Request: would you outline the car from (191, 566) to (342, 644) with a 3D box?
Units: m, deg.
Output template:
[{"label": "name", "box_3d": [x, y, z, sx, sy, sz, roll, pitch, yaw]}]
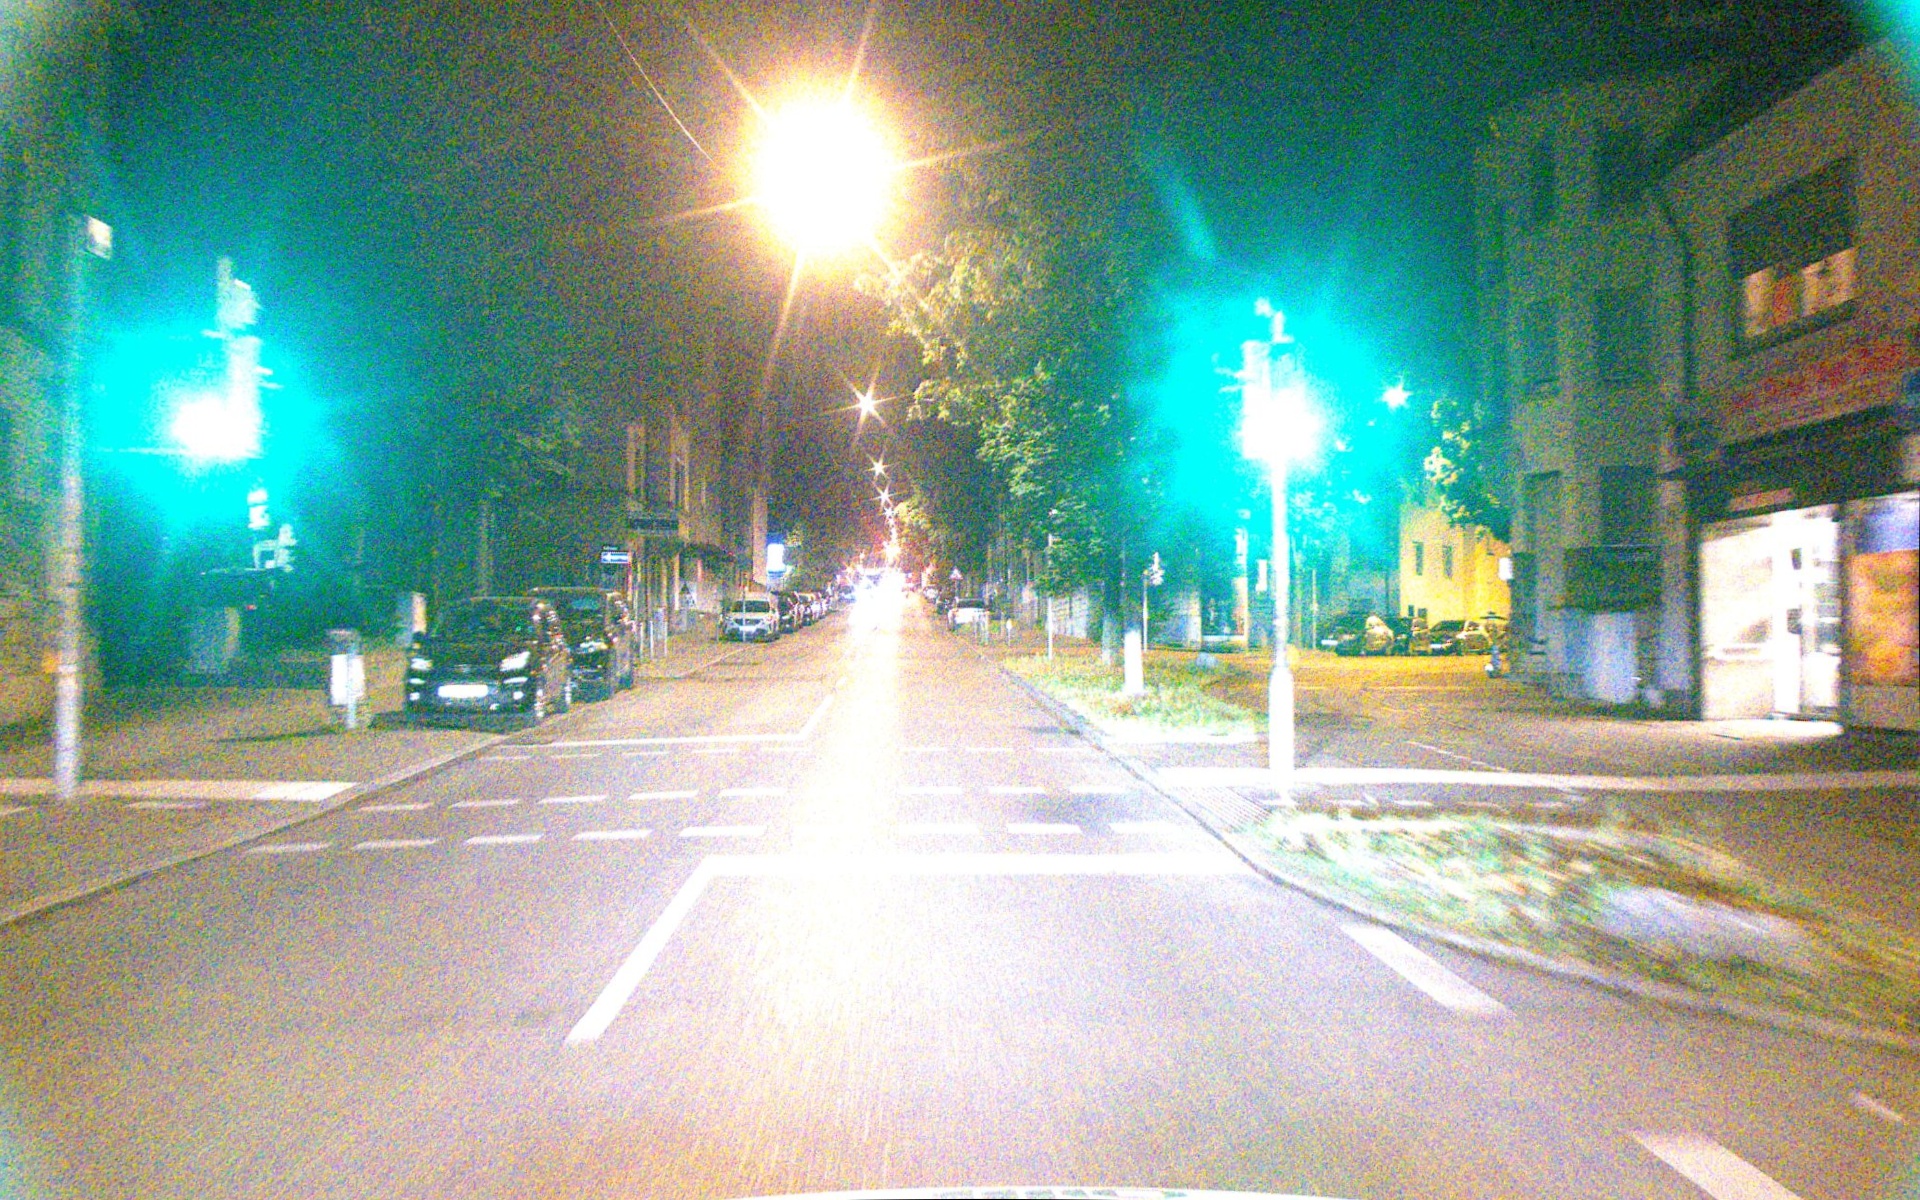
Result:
[{"label": "car", "box_3d": [-15.447, 0.114, 37.073, 1.721, 1.565, 4.185, 3, 0, -3]}]

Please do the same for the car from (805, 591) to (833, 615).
[{"label": "car", "box_3d": [-9.129, 0.209, 107.225, 1.605, 1.524, 2.765, 0, 0, 0]}]

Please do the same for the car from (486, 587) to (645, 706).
[{"label": "car", "box_3d": [-6.209, 0.669, 26.528, 1.812, 1.679, 4.666, 1, 1, -5]}]

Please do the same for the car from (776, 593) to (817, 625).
[{"label": "car", "box_3d": [-8.171, 0.460, 82.921, 1.826, 1.518, 4.278, 1, 0, -3]}]

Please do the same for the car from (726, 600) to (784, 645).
[{"label": "car", "box_3d": [-7.234, 0.763, 58.674, 1.778, 1.510, 4.345, 0, 0, -3]}]

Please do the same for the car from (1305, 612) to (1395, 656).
[{"label": "car", "box_3d": [13.655, 1.164, 57.748, 1.766, 1.442, 3.824, 1, 0, 35]}]

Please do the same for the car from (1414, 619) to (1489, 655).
[{"label": "car", "box_3d": [19.907, 1.480, 66.936, 1.739, 1.364, 3.905, 1, 0, 35]}]

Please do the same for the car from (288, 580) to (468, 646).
[{"label": "car", "box_3d": [-14.892, 0.332, 42.399, 3.902, 1.450, 1.763, 3, 0, 8]}]

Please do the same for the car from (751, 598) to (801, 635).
[{"label": "car", "box_3d": [-7.673, 0.662, 69.207, 1.798, 1.472, 4.542, 0, 1, -3]}]

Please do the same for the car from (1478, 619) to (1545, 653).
[{"label": "car", "box_3d": [24.296, 1.581, 72.837, 1.739, 1.442, 3.905, 1, 0, 35]}]

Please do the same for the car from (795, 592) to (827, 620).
[{"label": "car", "box_3d": [-8.566, 0.313, 95.316, 1.670, 1.517, 4.226, -1, 1, -3]}]

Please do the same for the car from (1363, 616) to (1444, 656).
[{"label": "car", "box_3d": [16.806, 1.338, 62.626, 1.766, 1.442, 3.824, 1, 0, 35]}]

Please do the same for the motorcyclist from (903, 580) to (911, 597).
[{"label": "motorcyclist", "box_3d": [-5.754, -1.270, 180.874, 0.831, 1.782, 0.805, 1, -1, -2]}]

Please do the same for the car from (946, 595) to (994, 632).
[{"label": "car", "box_3d": [0.422, 0.576, 72.280, 1.808, 1.442, 4.643, -3, 0, -3]}]

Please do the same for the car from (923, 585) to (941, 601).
[{"label": "car", "box_3d": [-2.967, -0.774, 172.895, 1.831, 1.553, 4.148, -1, 1, -2]}]

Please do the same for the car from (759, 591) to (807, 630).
[{"label": "car", "box_3d": [-7.929, 0.434, 74.368, 1.798, 1.647, 4.543, 1, 0, -2]}]

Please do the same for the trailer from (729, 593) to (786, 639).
[{"label": "trailer", "box_3d": [-7.721, 0.607, 63.243, 1.603, 1.668, 3.440, 1, 0, 2]}]

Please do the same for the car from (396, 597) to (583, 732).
[{"label": "car", "box_3d": [-5.895, 0.760, 21.100, 1.615, 1.541, 3.697, 1, 0, -6]}]

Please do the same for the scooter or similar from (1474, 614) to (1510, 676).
[{"label": "scooter or similar", "box_3d": [10.354, 0.863, 32.168, 0.488, 1.166, 1.666, -2, -2, 22]}]

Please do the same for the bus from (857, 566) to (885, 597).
[{"label": "bus", "box_3d": [-9.763, -2.045, 181.759, 2.780, 3.233, 10.495, 1, 1, -2]}]

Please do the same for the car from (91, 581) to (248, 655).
[{"label": "car", "box_3d": [-15.450, 0.343, 32.512, 1.525, 1.340, 3.560, 1, 0, -4]}]

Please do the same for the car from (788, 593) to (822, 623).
[{"label": "car", "box_3d": [-8.205, 0.418, 87.503, 1.589, 1.518, 3.778, 1, 0, -3]}]

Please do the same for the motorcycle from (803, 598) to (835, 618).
[{"label": "motorcycle", "box_3d": [-8.478, 0.465, 99.479, 0.710, 1.167, 2.173, -1, 1, -44]}]

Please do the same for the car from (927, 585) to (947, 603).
[{"label": "car", "box_3d": [-2.241, -0.587, 159.654, 1.775, 1.621, 4.272, -1, 1, -2]}]

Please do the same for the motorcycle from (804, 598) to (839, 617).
[{"label": "motorcycle", "box_3d": [-8.495, 0.465, 101.498, 2.161, 1.150, 0.714, 0, 1, 31]}]

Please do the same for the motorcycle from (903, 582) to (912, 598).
[{"label": "motorcycle", "box_3d": [-5.753, -1.075, 180.841, 0.912, 1.782, 2.624, 1, 0, -2]}]

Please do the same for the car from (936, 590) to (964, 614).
[{"label": "car", "box_3d": [-0.704, 0.134, 110.787, 1.727, 1.501, 4.079, -1, 1, -2]}]
